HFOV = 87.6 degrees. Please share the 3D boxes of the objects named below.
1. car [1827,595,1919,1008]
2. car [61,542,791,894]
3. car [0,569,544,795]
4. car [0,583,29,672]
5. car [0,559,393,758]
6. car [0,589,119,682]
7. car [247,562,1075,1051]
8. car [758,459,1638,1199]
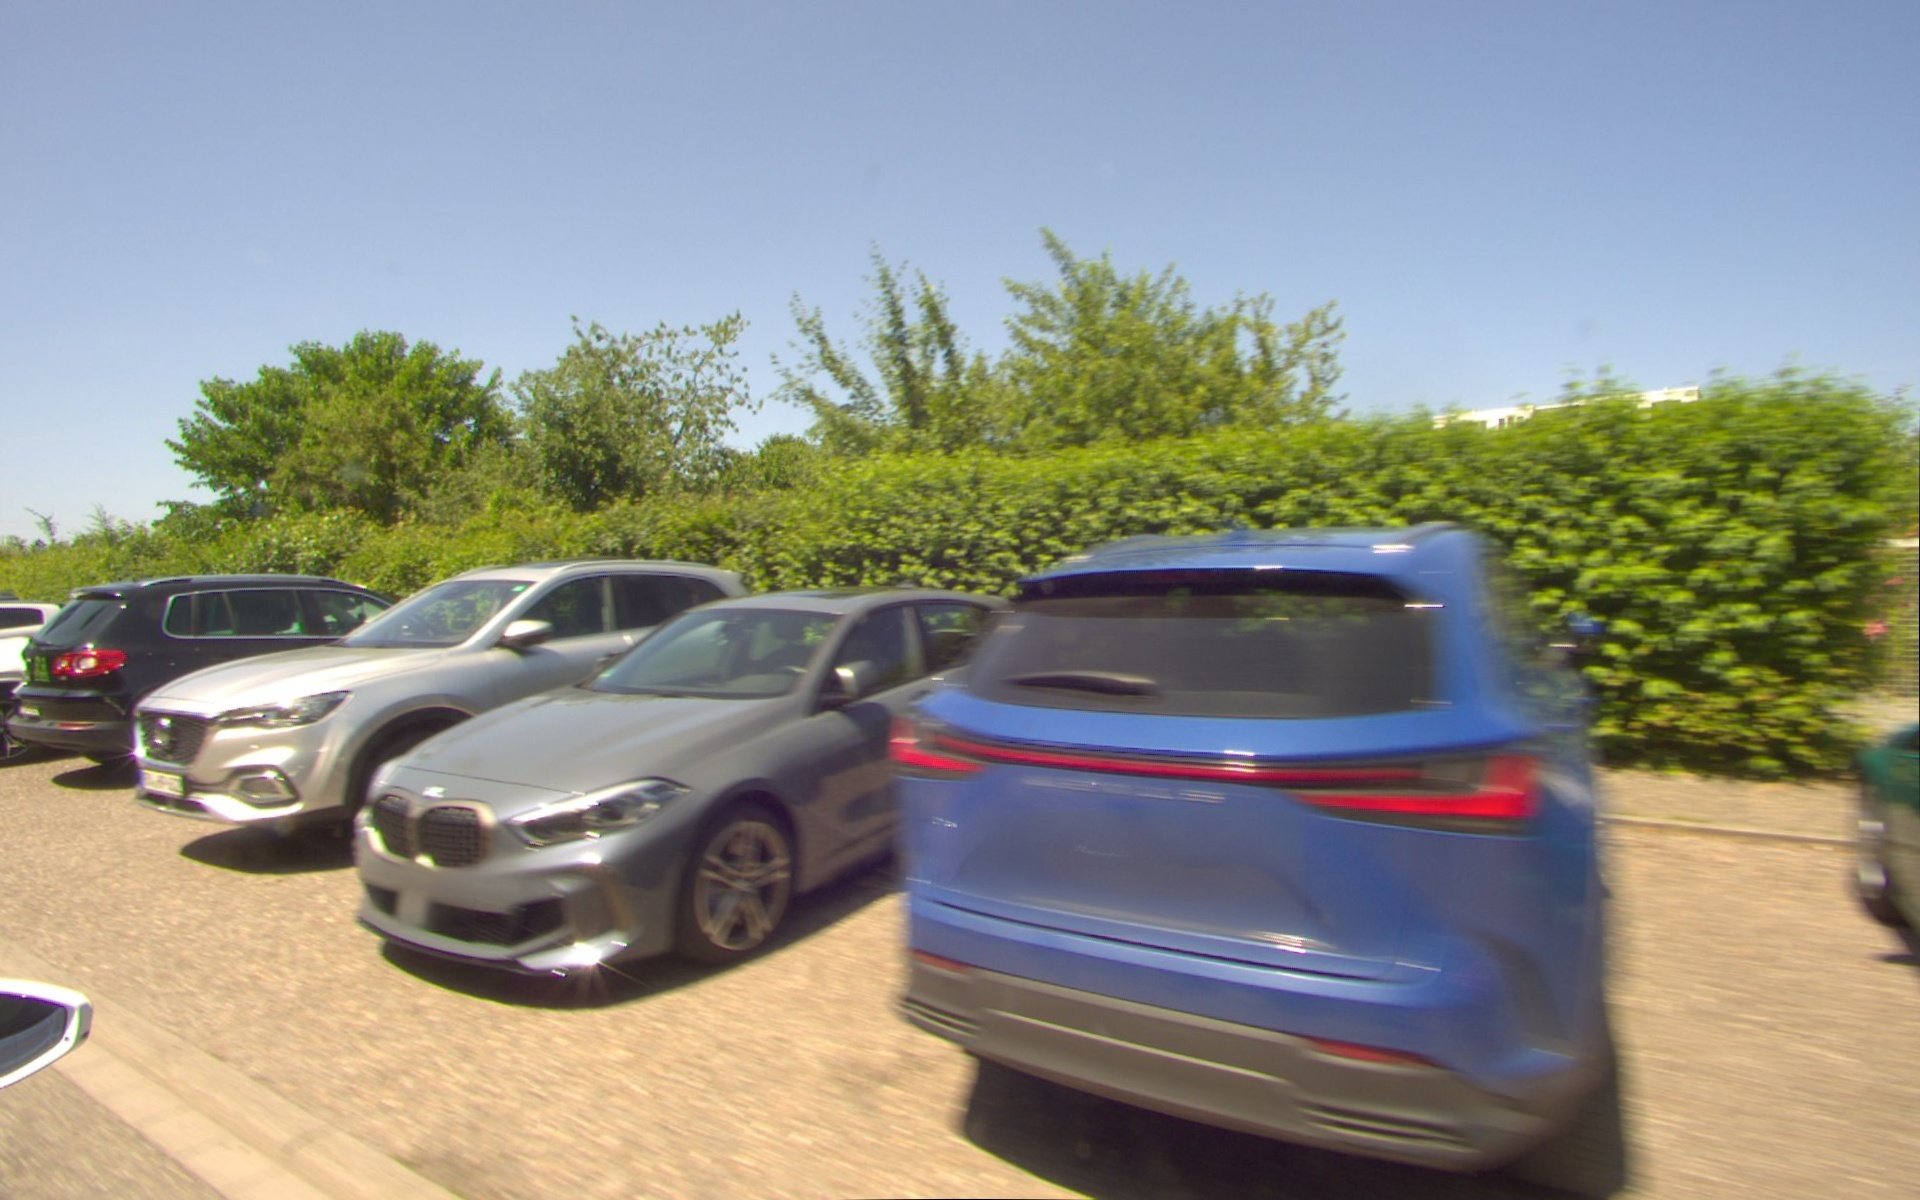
[{"bbox_3d":[3.688,0.709,2.630,1.605,1.286,3.724,-1,3,33],"label":"car"},{"bbox_3d":[-3.314,0.484,7.202,1.871,1.677,4.227,0,4,29],"label":"car"},{"bbox_3d":[-6.444,0.568,9.688,1.860,1.680,4.115,0,2,33],"label":"car"},{"bbox_3d":[-19.751,0.620,18.022,1.785,1.691,3.951,-1,3,27],"label":"car"},{"bbox_3d":[-8.905,0.512,10.864,1.849,1.722,4.394,-1,3,30],"label":"car"},{"bbox_3d":[-17.044,0.657,16.945,1.790,1.500,3.939,0,3,37],"label":"car"},{"bbox_3d":[-1.059,0.610,5.410,1.788,1.459,4.120,-1,3,31],"label":"car"},{"bbox_3d":[1.367,0.529,3.852,1.796,1.656,4.228,0,2,31],"label":"car"}]
